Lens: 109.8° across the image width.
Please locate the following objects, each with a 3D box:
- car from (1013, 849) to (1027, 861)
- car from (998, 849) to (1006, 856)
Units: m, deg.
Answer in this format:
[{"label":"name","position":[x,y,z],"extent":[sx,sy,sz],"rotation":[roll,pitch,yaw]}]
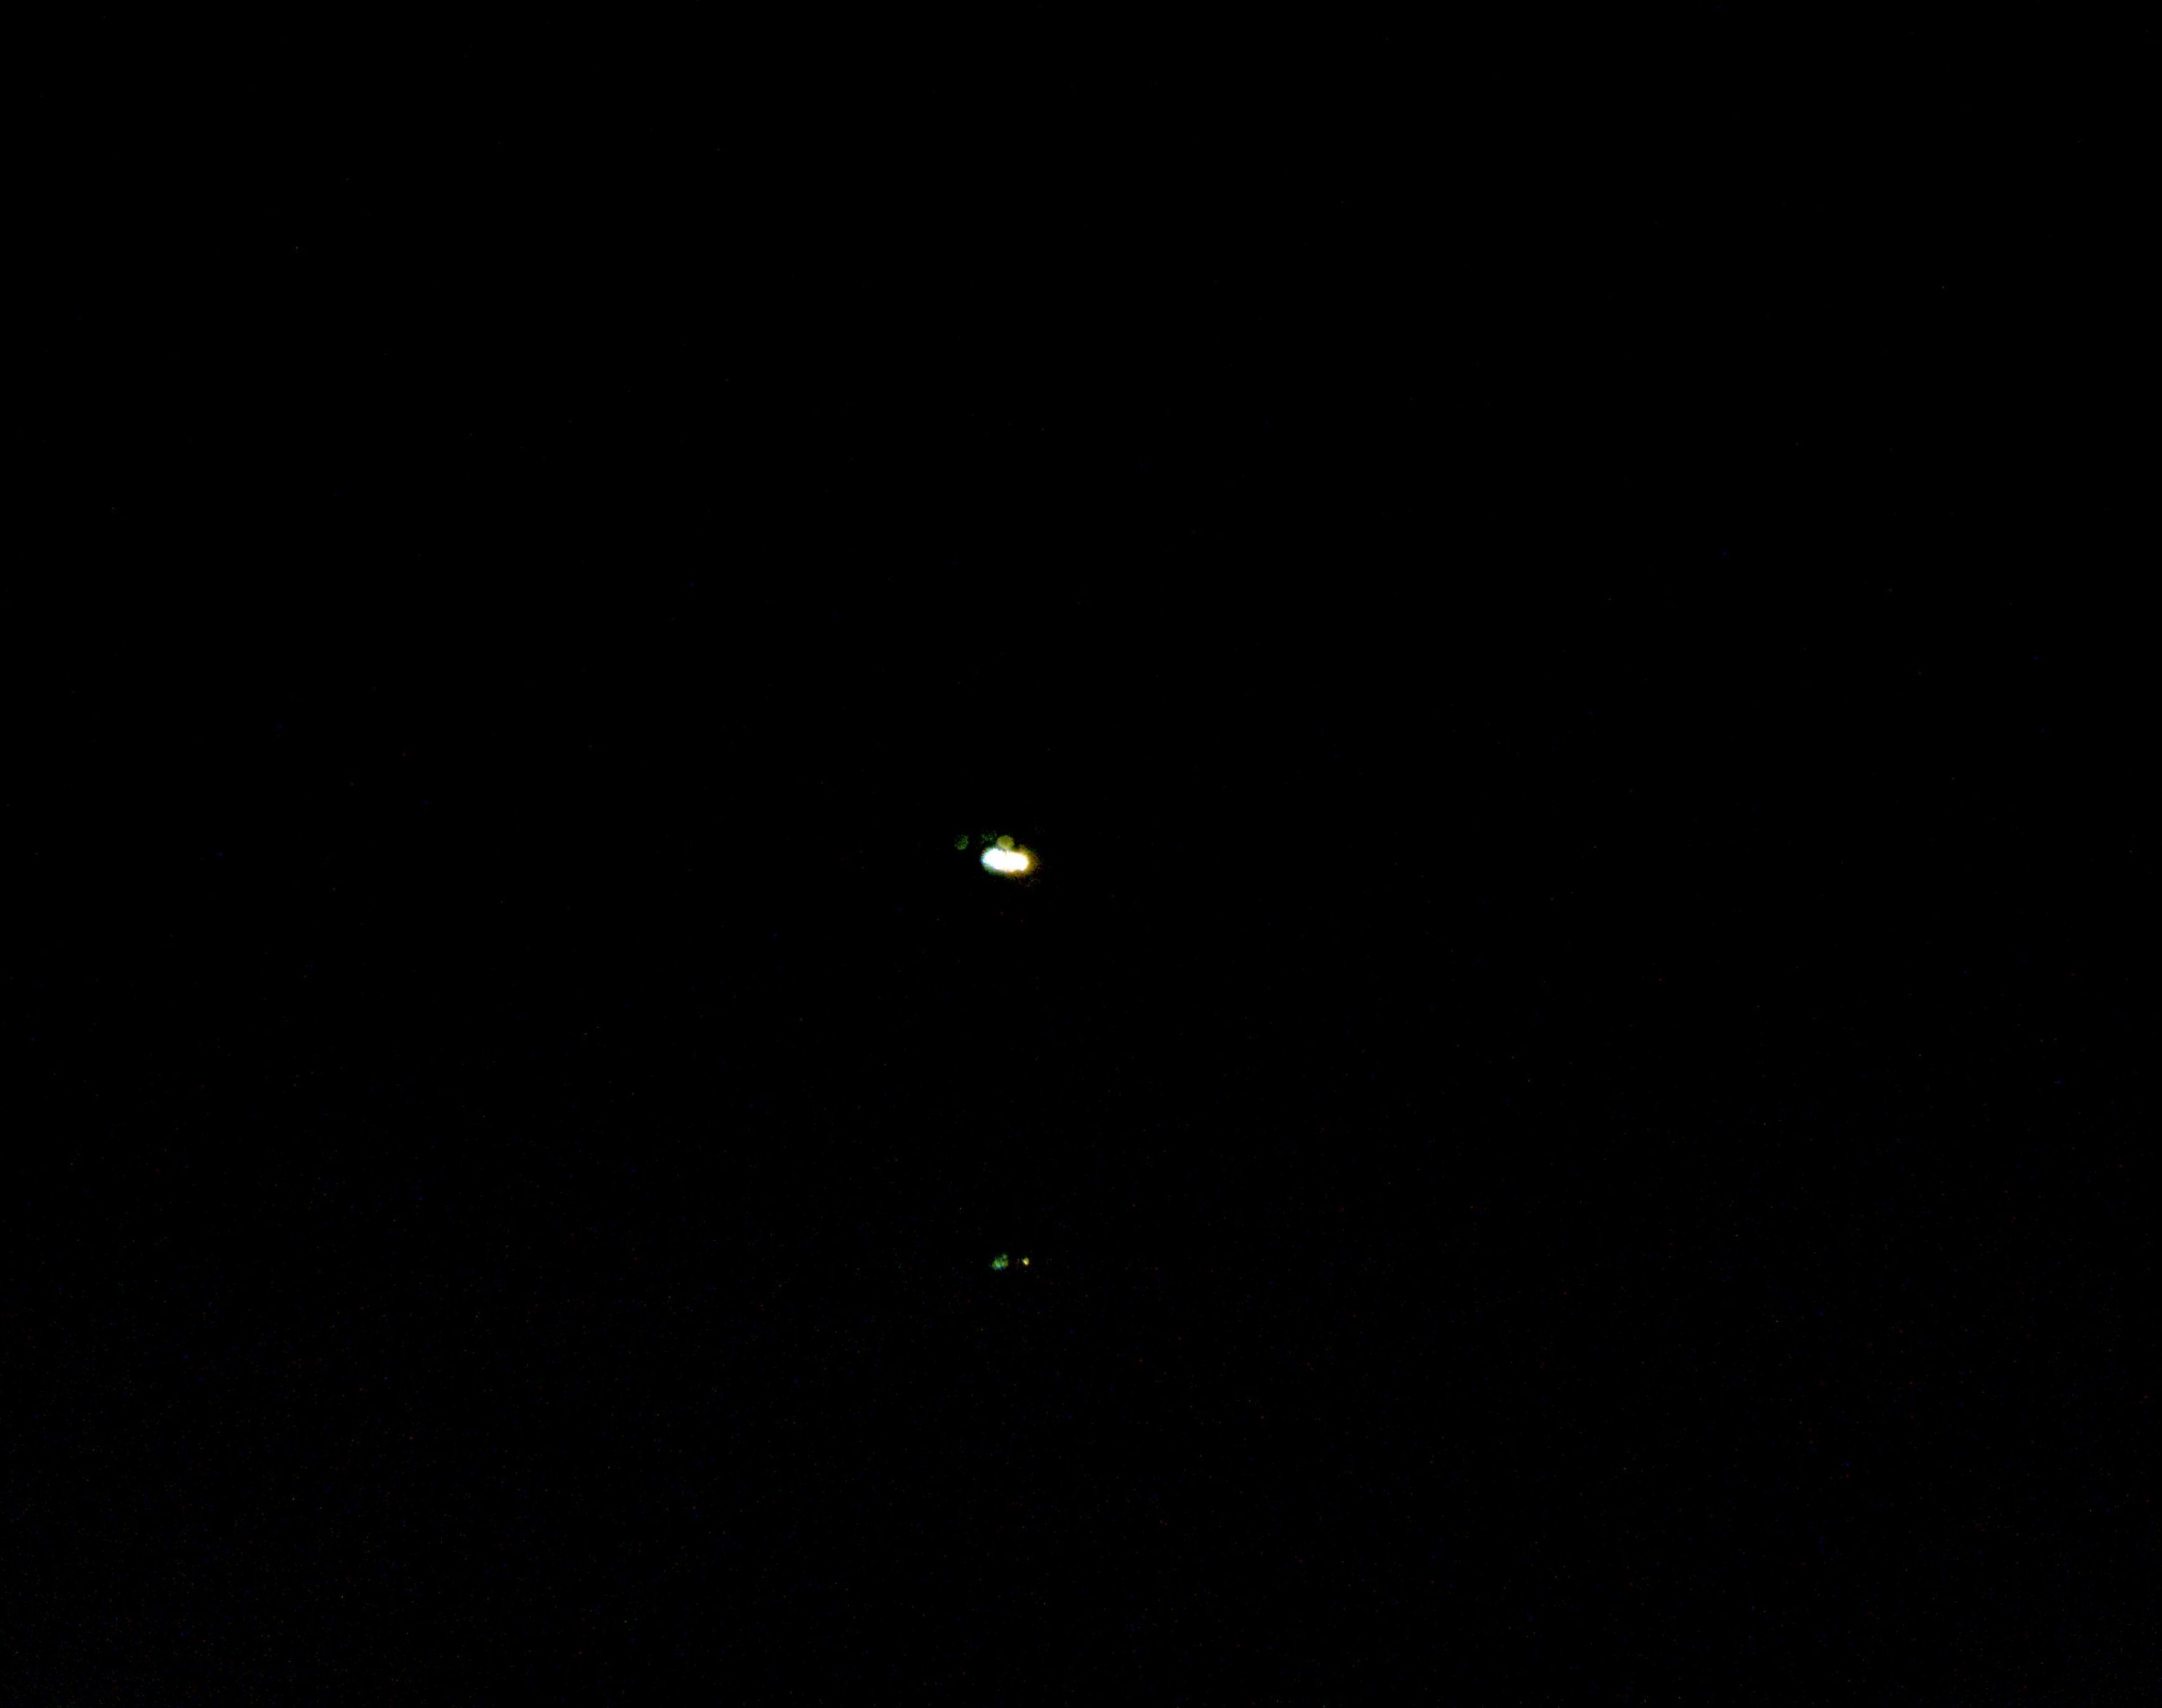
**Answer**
[{"label":"car","position":[-10.797,0.112,134.209],"extent":[2.000,2.002,3.995],"rotation":[0,2,-9]},{"label":"car","position":[-22.437,-0.489,215.839],"extent":[2.000,2.002,4.271],"rotation":[-1,1,-9]}]
